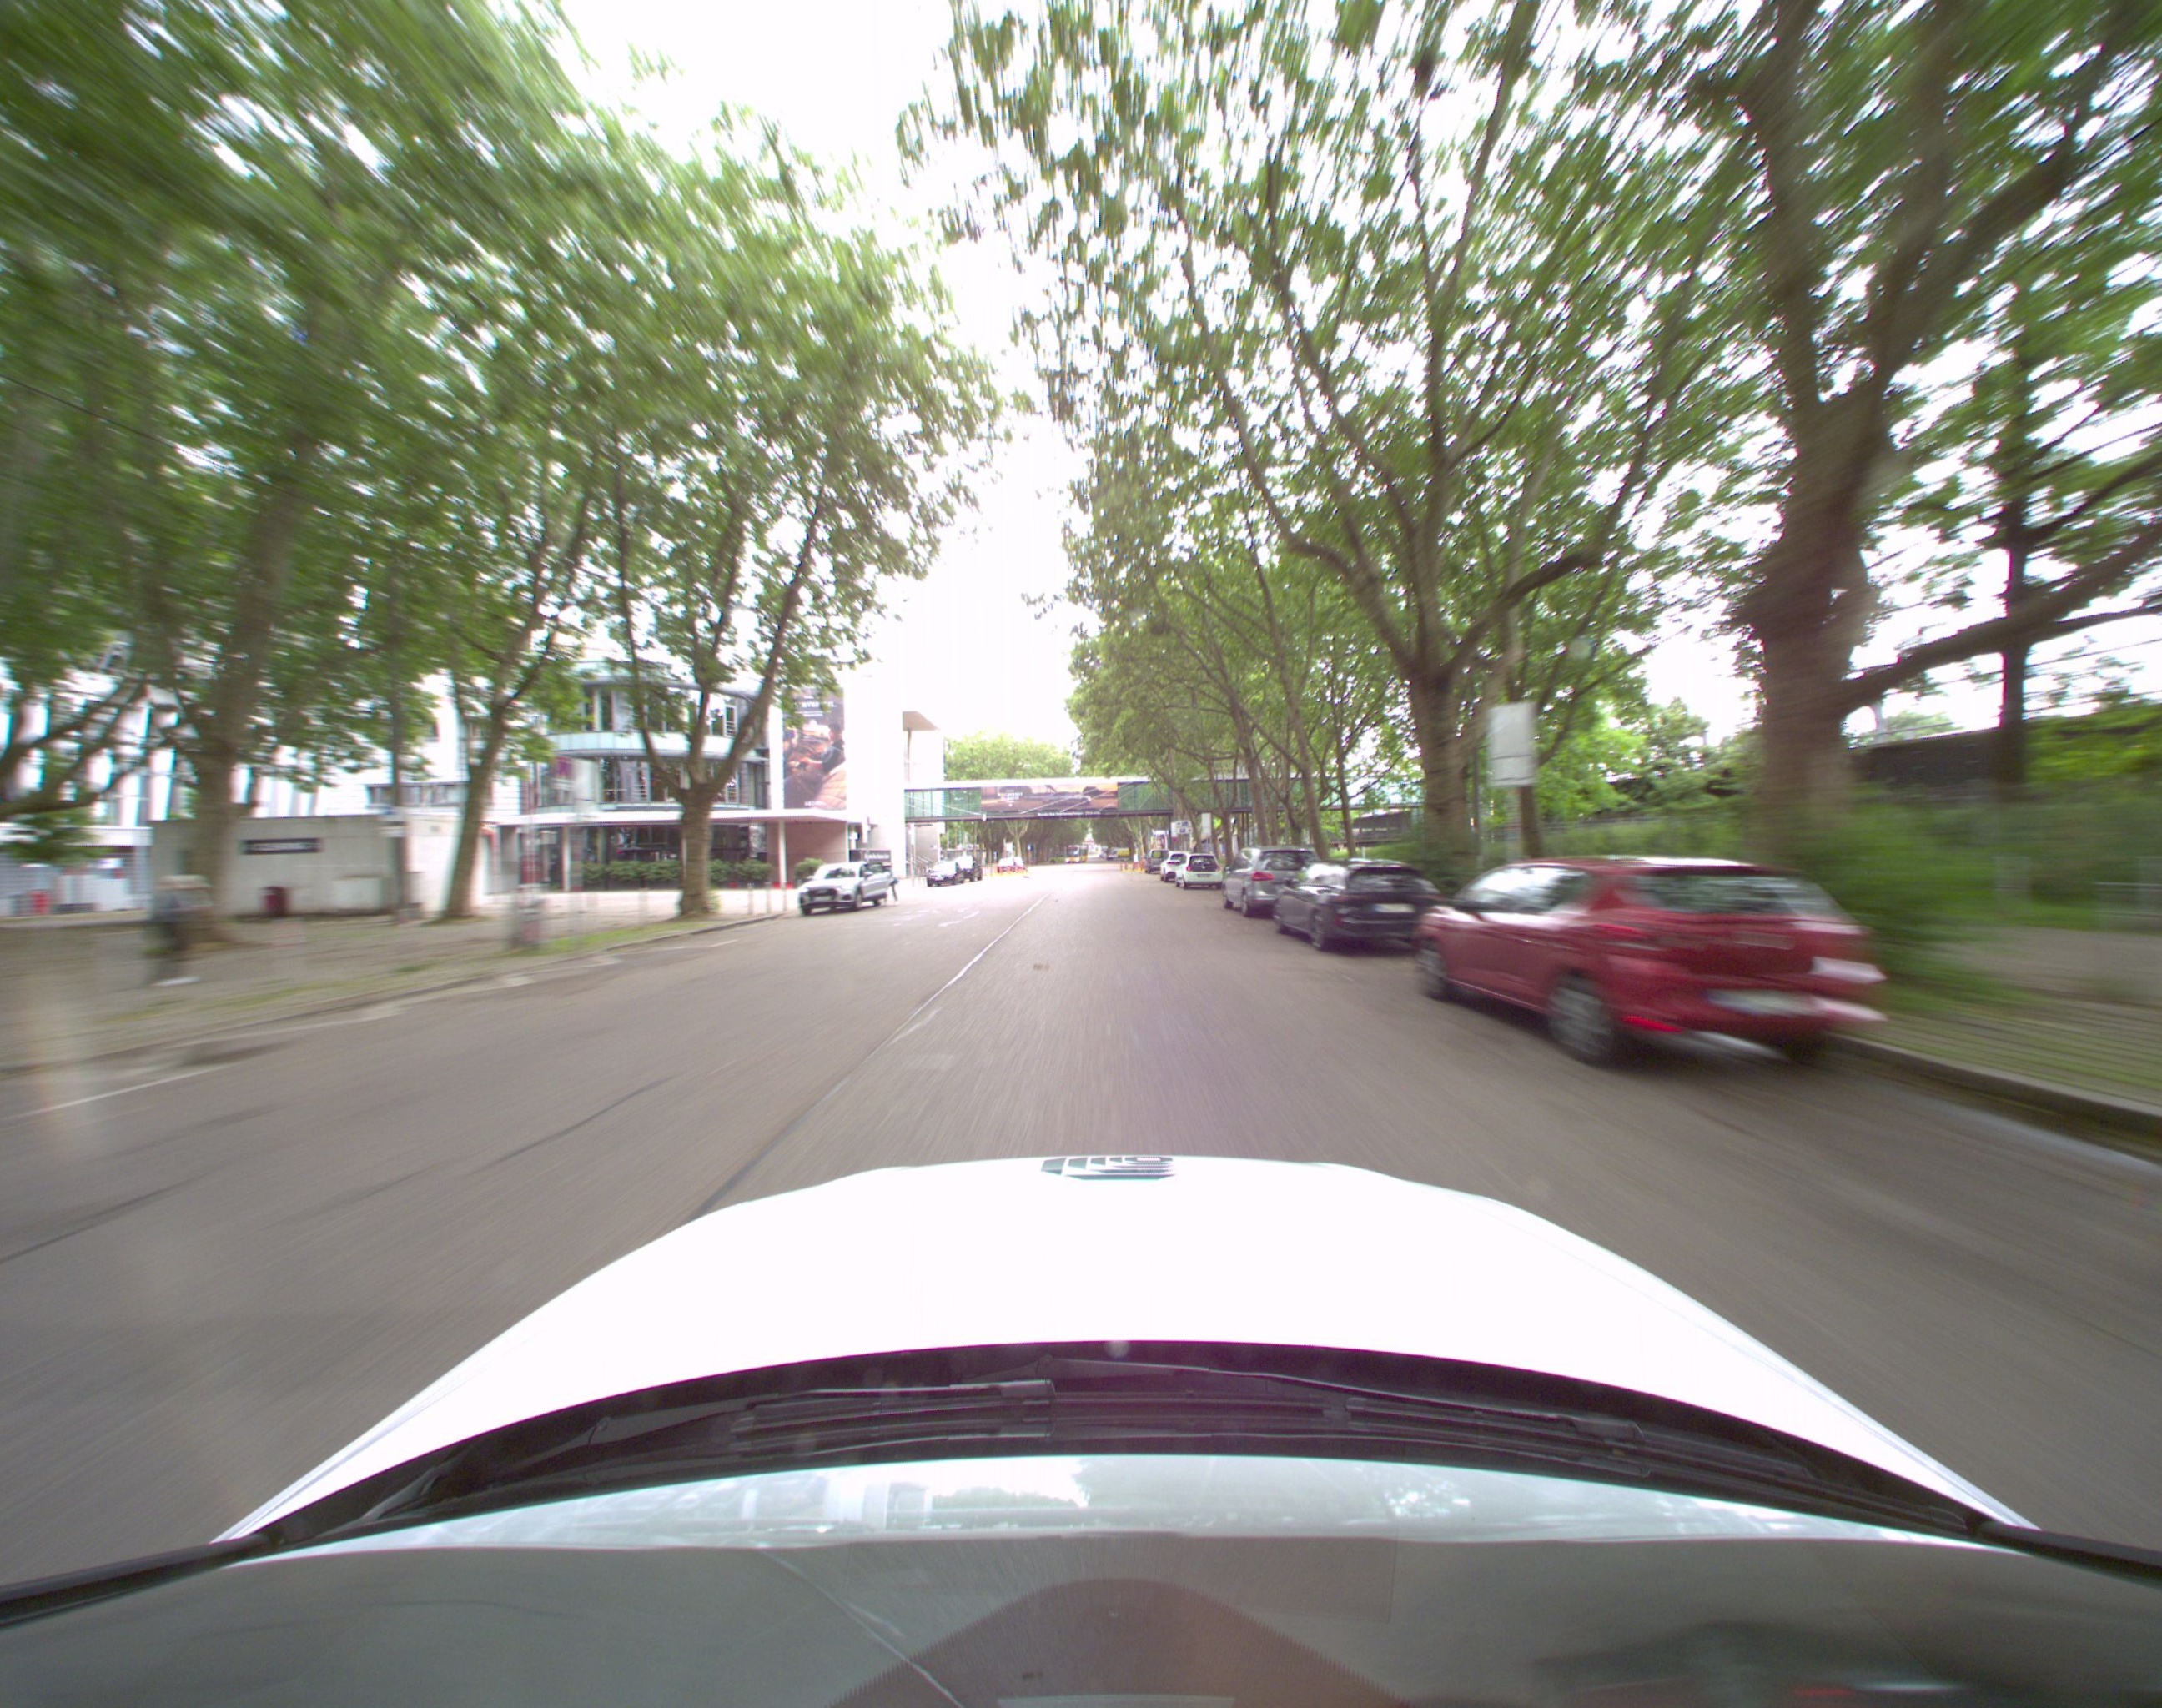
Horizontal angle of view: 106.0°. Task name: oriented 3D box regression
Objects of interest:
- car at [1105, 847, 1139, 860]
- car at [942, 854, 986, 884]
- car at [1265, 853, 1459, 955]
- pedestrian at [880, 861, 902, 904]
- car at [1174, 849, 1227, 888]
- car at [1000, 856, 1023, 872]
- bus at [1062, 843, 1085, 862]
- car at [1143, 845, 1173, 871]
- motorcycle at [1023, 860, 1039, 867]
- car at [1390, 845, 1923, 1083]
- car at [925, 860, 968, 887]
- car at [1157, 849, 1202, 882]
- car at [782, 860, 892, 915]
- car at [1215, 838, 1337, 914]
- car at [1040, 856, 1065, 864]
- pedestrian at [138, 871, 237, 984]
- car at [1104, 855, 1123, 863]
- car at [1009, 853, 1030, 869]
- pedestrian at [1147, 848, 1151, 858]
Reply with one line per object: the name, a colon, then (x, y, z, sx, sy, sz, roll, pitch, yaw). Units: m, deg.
car: (8.568, -0.089, 170.125, 6.804, 2.513, 2.315, -2, 0, -1)
car: (-7.972, 1.005, 55.982, 2.027, 1.789, 4.909, -5, 0, 1)
car: (4.558, 0.714, 13.984, 1.870, 1.427, 4.481, -2, 0, 2)
pedestrian: (-6.587, 0.975, 28.268, 0.581, 1.466, 0.568, -1, 0, 4)
car: (5.155, 0.608, 35.569, 1.801, 1.526, 4.097, -2, 0, 1)
car: (-7.190, 1.029, 84.732, 1.851, 1.453, 4.450, -4, 0, 1)
bus: (-1.279, -0.253, 149.212, 3.025, 3.160, 12.692, -4, 0, 4)
car: (5.600, 0.288, 59.993, 1.841, 1.783, 5.212, 0, 0, 1)
motorcycle: (-8.740, 1.602, 141.802, 2.603, 1.123, 0.698, -1, -1, -23)
car: (4.483, 0.704, 7.311, 1.850, 1.481, 4.178, -1, 0, 1)
car: (-8.219, 1.154, 50.024, 1.698, 1.419, 4.326, -4, 0, 1)
car: (5.204, 0.592, 43.436, 1.907, 1.618, 4.750, -2, 0, 1)
car: (-7.970, 1.046, 27.116, 2.066, 1.563, 4.757, -2, 0, 1)
car: (4.828, 0.513, 20.884, 1.975, 1.680, 4.731, -2, 0, 0)
car: (-5.639, 1.170, 160.182, 4.682, 1.584, 1.865, -2, 0, 1)
pedestrian: (-13.467, 1.089, 12.296, 0.589, 1.620, 0.794, -1, 0, 10)
car: (7.063, 1.075, 177.582, 3.974, 1.794, 1.543, -2, 0, 0)
car: (-7.065, 0.802, 93.798, 1.986, 1.584, 4.114, -4, 0, 1)
pedestrian: (11.938, -0.167, 143.326, 0.572, 1.888, 0.615, -1, -1, -8)
